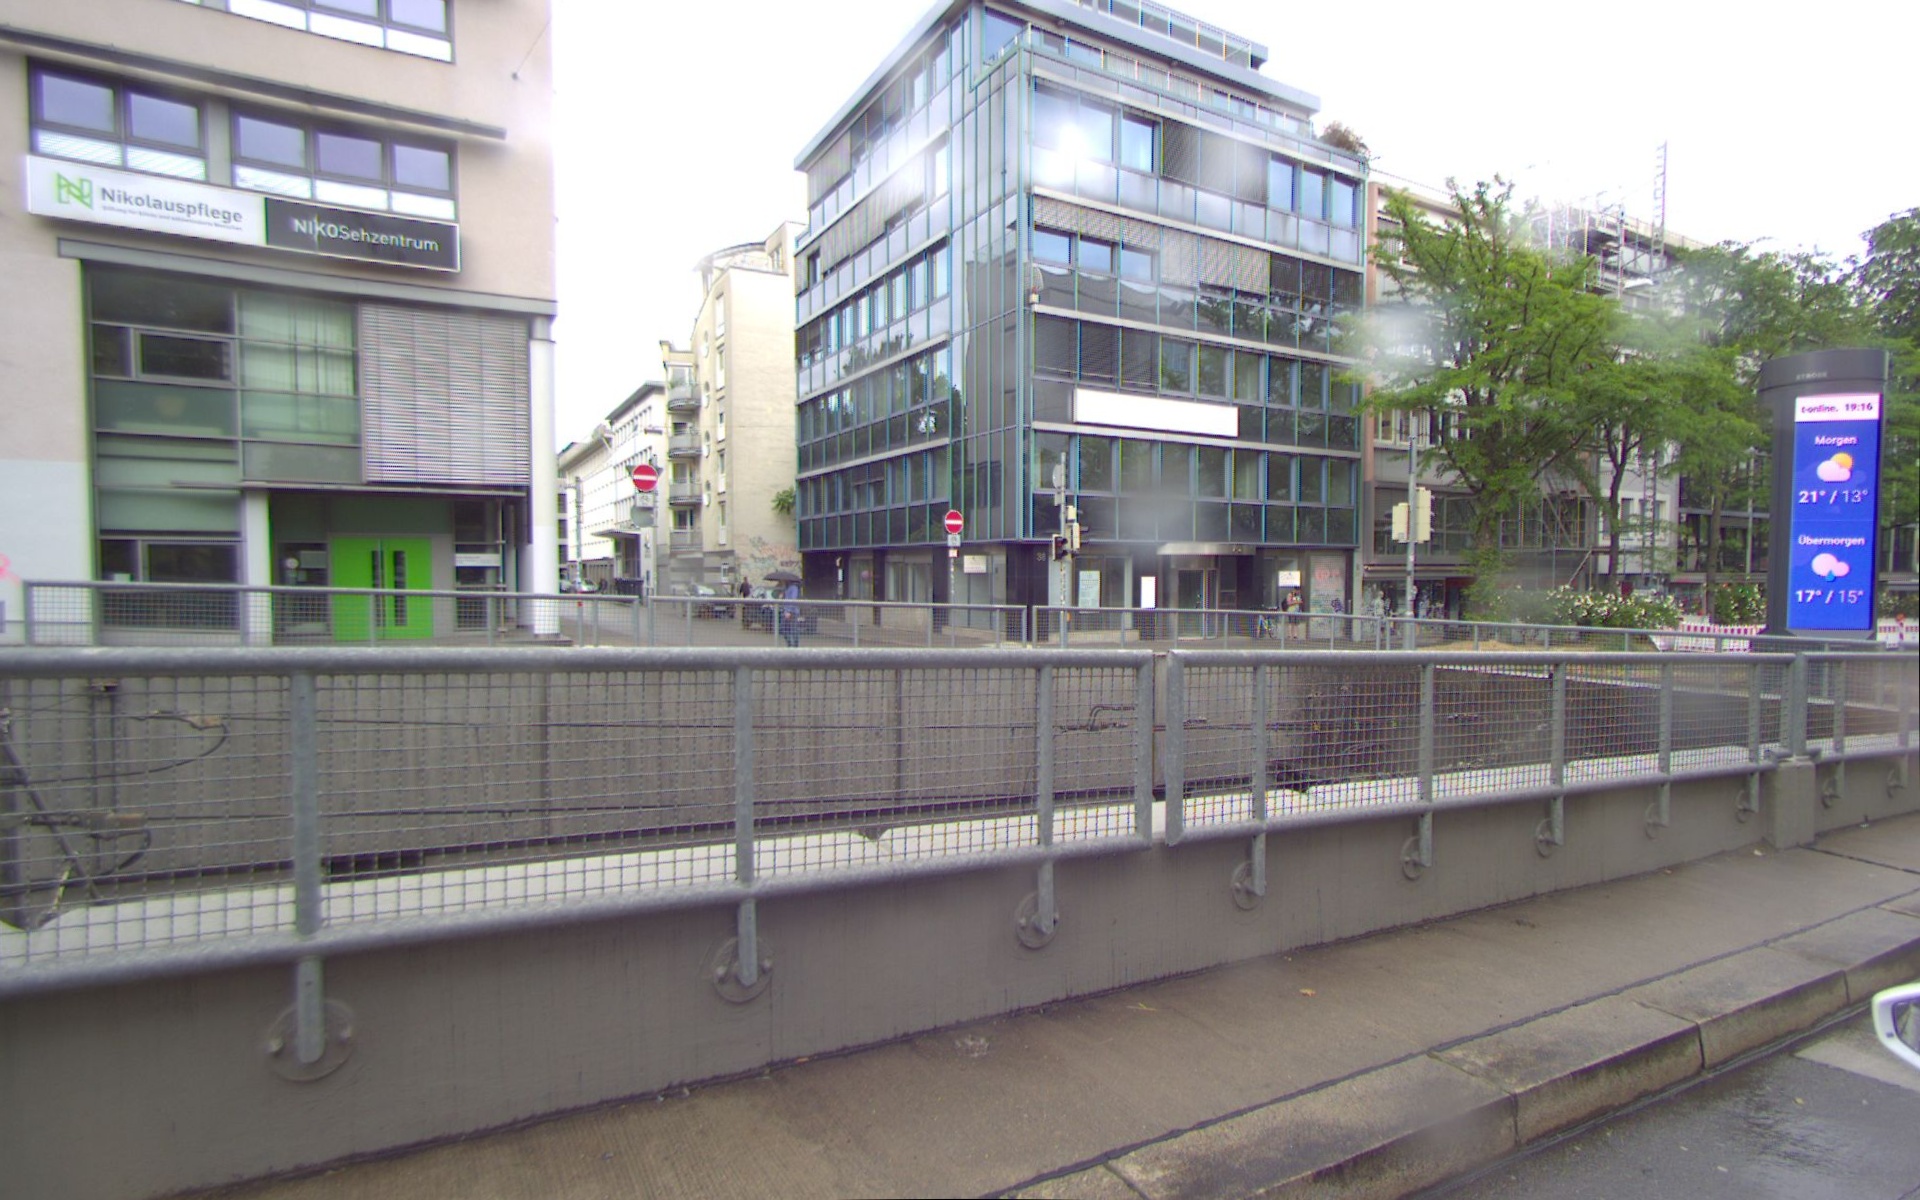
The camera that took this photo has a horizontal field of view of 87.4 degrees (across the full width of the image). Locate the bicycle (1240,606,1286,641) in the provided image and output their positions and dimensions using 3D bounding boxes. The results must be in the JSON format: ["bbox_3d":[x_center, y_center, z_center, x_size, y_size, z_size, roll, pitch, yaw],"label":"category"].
[{"bbox_3d":[9.863,0.763,32.719,1.544,1.100,0.444,1,1,-27],"label":"bicycle"}]

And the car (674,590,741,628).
[{"bbox_3d":[-11.112,0.360,44.105,1.777,1.578,3.966,1,0,-31],"label":"car"}]

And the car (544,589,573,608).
[{"bbox_3d":[-34.995,-0.168,87.490,1.777,1.578,3.967,1,0,-30],"label":"car"}]

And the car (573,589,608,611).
[{"bbox_3d":[-27.913,-0.011,75.879,1.777,1.578,3.967,1,0,-30],"label":"car"}]

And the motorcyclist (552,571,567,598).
[{"bbox_3d":[-28.752,-1.118,72.105,0.850,1.832,1.007,1,2,-29],"label":"motorcyclist"}]

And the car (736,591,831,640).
[{"bbox_3d":[-6.247,0.501,35.167,1.977,1.578,3.966,1,0,-31],"label":"car"}]

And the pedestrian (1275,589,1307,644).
[{"bbox_3d":[10.943,0.546,33.227,0.688,1.765,0.691,1,2,-35],"label":"pedestrian"}]

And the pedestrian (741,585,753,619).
[{"bbox_3d":[-10.530,0.121,49.642,0.443,1.664,0.326,1,2,-35],"label":"pedestrian"}]

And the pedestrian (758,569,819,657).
[{"bbox_3d":[-3.732,0.268,21.856,1.047,1.863,0.853,1,2,-30],"label":"pedestrian"}]
